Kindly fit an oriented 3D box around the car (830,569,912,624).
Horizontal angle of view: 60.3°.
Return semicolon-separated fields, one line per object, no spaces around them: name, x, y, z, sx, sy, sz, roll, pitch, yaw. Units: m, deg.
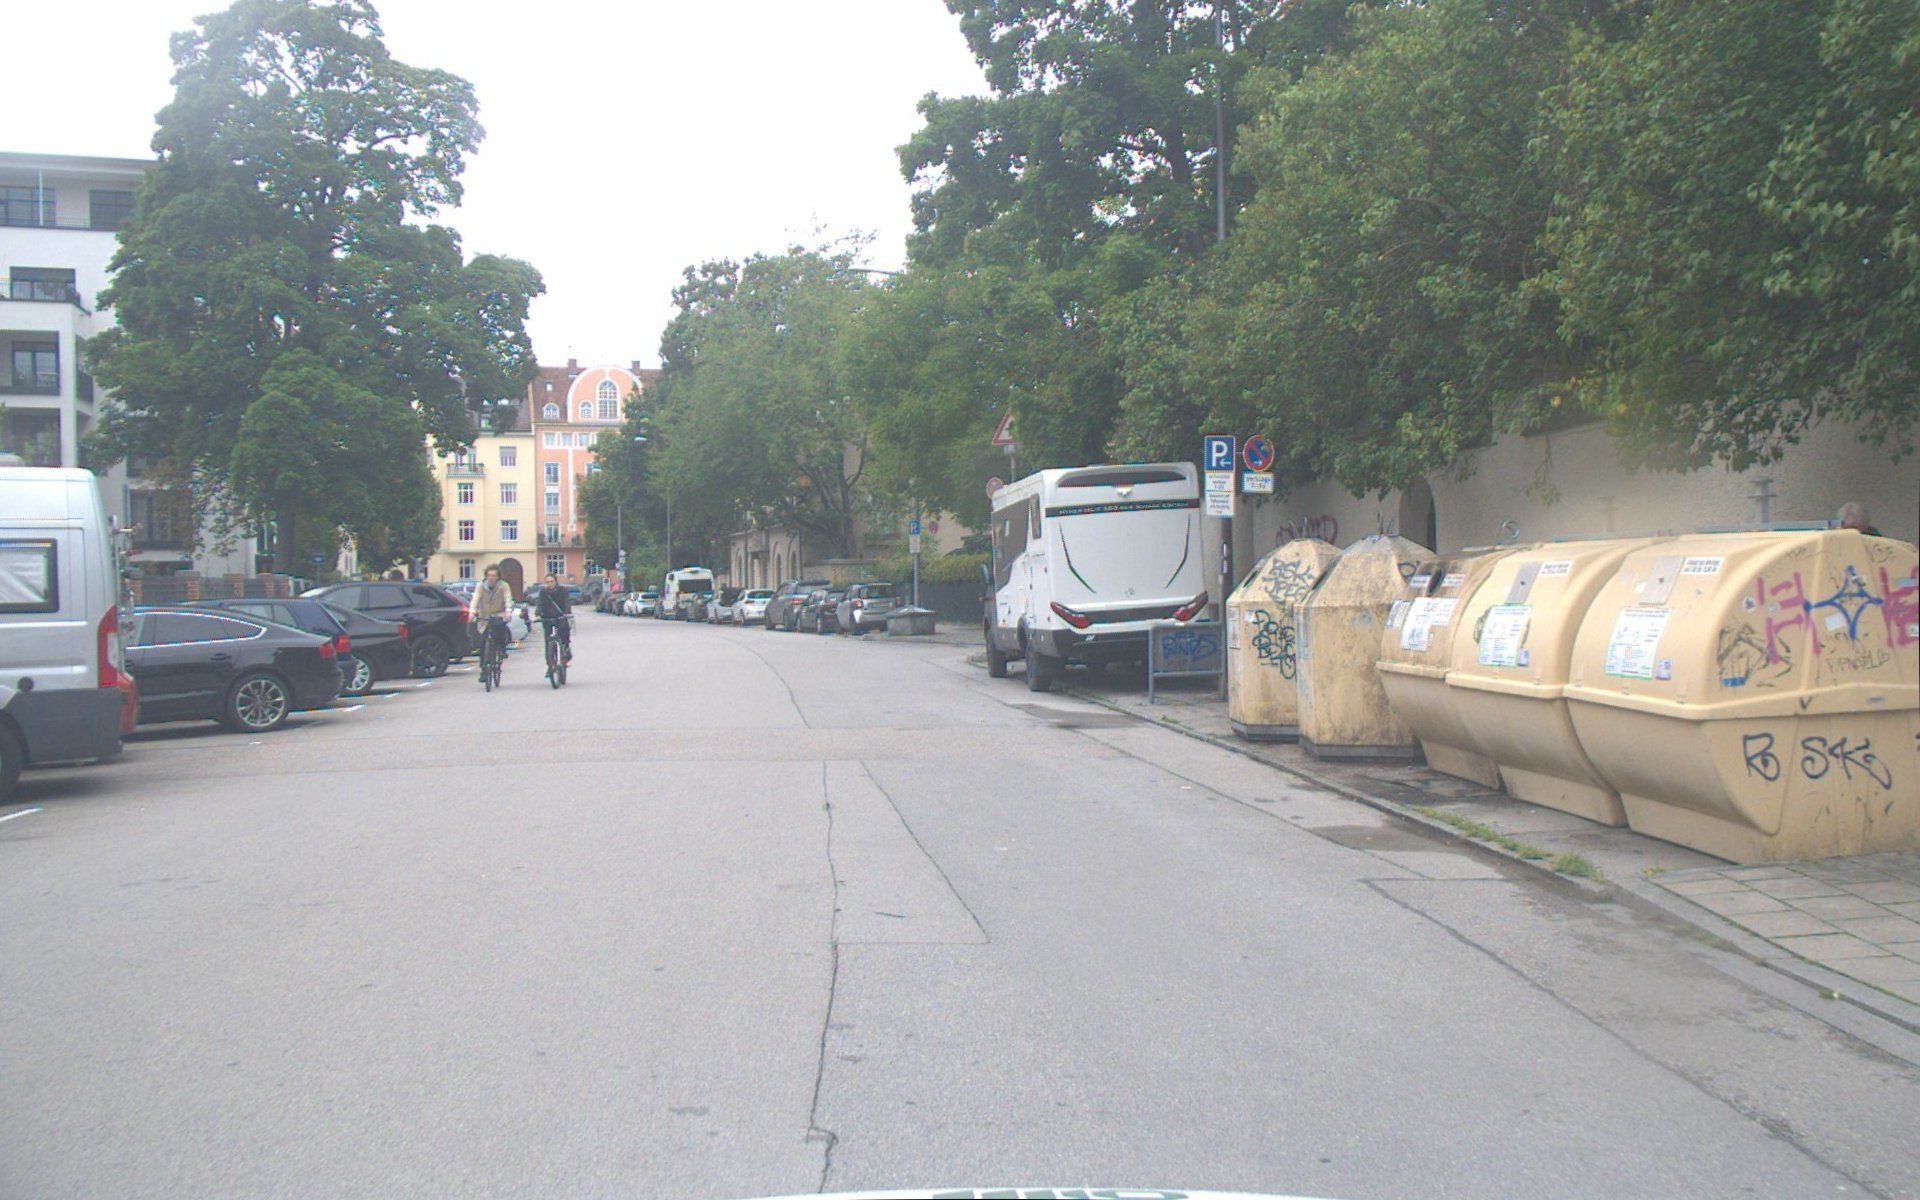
car;-2.768;-0.108;50.885;1.714;1.562;2.929;-3;0;-20

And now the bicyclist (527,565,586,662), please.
bicyclist;-5.936;0.188;24.361;0.683;1.376;0.929;-1;1;-6

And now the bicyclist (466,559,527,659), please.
bicyclist;-6.791;0.119;24.271;0.683;1.421;0.929;-1;1;-6

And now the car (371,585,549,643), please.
car;-13.877;0.369;46.039;1.930;1.464;4.387;-1;1;41

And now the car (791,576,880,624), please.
car;-4.161;-0.012;54.763;1.850;1.452;4.197;-3;1;-20

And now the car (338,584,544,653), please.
car;-12.719;0.416;40.688;4.479;1.476;1.868;-3;1;-42

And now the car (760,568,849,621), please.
car;-5.618;-0.201;59.147;1.965;1.741;4.856;-3;1;-20

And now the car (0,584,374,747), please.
car;-8.988;0.662;18.108;4.476;1.476;1.953;-3;2;-35

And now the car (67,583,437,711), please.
car;-9.988;0.601;23.495;4.481;1.442;1.902;-4;2;-38

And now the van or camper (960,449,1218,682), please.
van or camper;1.682;-0.506;24.965;2.230;2.956;7.262;-1;1;-9

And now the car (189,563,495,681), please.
car;-10.448;0.333;28.116;4.481;1.694;1.961;-3;1;-38

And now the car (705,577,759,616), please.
car;-10.104;-0.163;73.103;1.680;1.564;4.220;-3;1;-17

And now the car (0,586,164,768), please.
car;-9.588;0.703;14.524;4.471;1.543;1.915;-2;1;-33

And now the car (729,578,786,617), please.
car;-8.384;-0.099;68.284;1.659;1.466;3.981;-2;0;-17

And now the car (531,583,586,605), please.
car;-36.216;-0.525;149.148;4.633;1.913;1.830;-1;0;-20

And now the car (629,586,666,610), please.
car;-19.400;-0.129;102.536;1.681;1.432;4.108;-3;1;-18

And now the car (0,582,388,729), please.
car;-9.770;0.632;20.837;4.481;1.476;1.796;-4;1;-38

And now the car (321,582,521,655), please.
car;-13.889;0.444;42.747;4.480;1.535;1.902;-5;2;-42

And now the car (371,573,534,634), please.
car;-15.714;0.089;51.385;2.097;1.728;4.390;-1;1;40

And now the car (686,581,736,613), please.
car;-11.863;-0.141;78.594;1.680;1.393;4.419;-3;1;-17

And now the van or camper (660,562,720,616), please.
van or camper;-13.936;-0.553;85.102;2.159;2.594;5.699;-3;1;-18

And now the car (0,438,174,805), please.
car;-8.404;0.203;12.056;4.577;2.608;2.211;-3;2;-31

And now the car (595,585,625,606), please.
car;-25.625;-0.337;121.015;1.646;1.367;3.815;-3;3;-20

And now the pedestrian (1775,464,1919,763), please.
pedestrian;6.274;0.085;11.645;0.616;2.019;0.797;-1;1;-6

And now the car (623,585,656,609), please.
car;-20.823;-0.202;107.244;1.680;1.491;3.820;-3;1;-17

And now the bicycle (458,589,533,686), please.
bicycle;-6.772;0.518;24.198;0.694;1.328;2.115;-1;1;-6

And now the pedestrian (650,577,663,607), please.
pedestrian;-20.639;-0.533;112.454;0.762;2.049;0.559;-1;0;-21

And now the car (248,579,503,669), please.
car;-11.719;0.446;33.340;4.485;1.595;1.862;-2;1;-40

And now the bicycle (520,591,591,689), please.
bicycle;-5.911;0.557;24.265;0.693;1.328;2.116;-1;1;-6
